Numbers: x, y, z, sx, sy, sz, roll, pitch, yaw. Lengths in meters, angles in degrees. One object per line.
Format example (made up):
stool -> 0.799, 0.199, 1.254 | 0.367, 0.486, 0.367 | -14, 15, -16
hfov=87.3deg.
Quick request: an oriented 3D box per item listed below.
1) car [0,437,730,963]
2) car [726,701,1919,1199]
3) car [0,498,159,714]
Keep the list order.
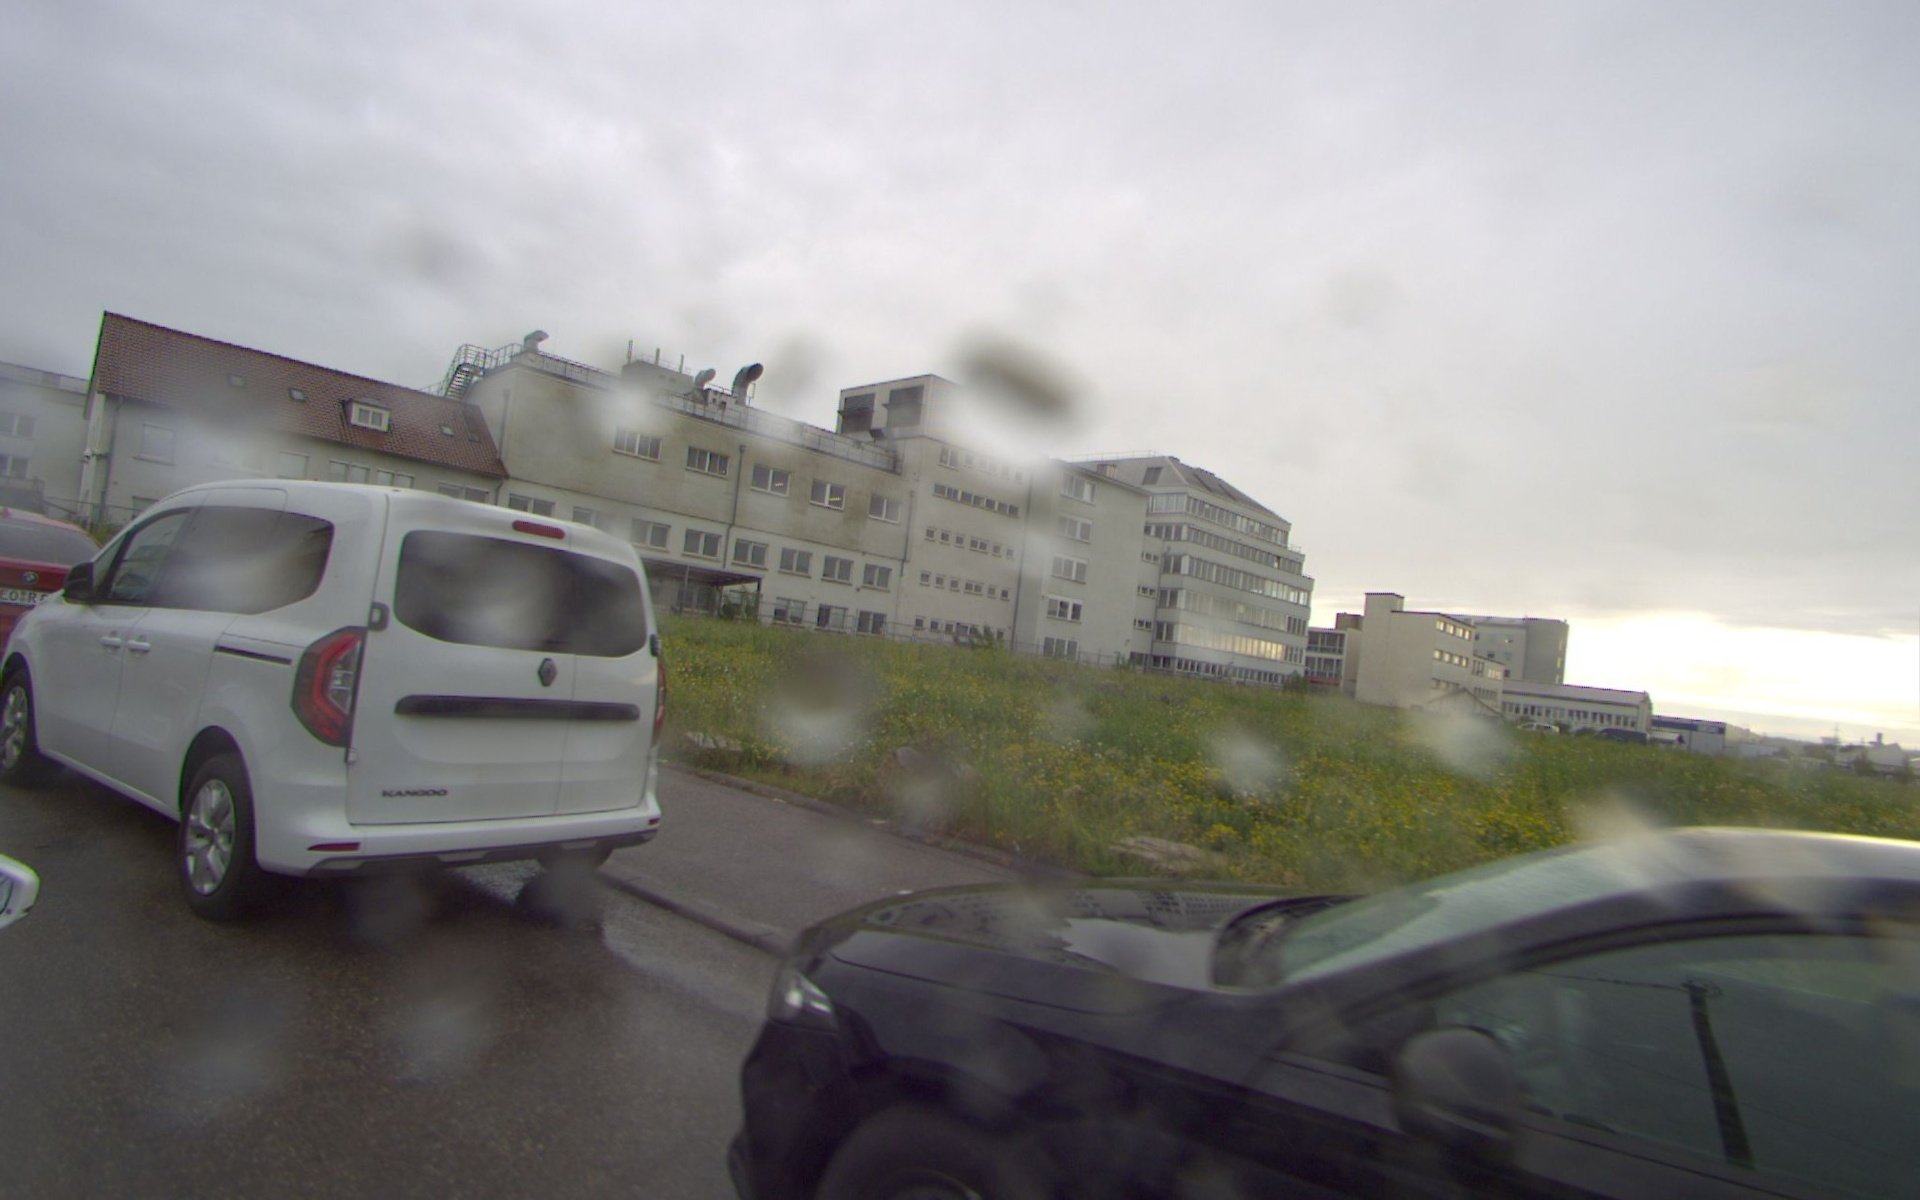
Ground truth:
car -> -3.604, 0.255, 5.509 | 4.501, 1.845, 1.772 | 6, -3, 34
car -> 1.785, 1.194, 1.669 | 4.251, 1.350, 1.772 | 6, -4, 34
car -> -9.077, -0.158, 9.020 | 4.572, 1.592, 1.645 | 6, -3, 36
